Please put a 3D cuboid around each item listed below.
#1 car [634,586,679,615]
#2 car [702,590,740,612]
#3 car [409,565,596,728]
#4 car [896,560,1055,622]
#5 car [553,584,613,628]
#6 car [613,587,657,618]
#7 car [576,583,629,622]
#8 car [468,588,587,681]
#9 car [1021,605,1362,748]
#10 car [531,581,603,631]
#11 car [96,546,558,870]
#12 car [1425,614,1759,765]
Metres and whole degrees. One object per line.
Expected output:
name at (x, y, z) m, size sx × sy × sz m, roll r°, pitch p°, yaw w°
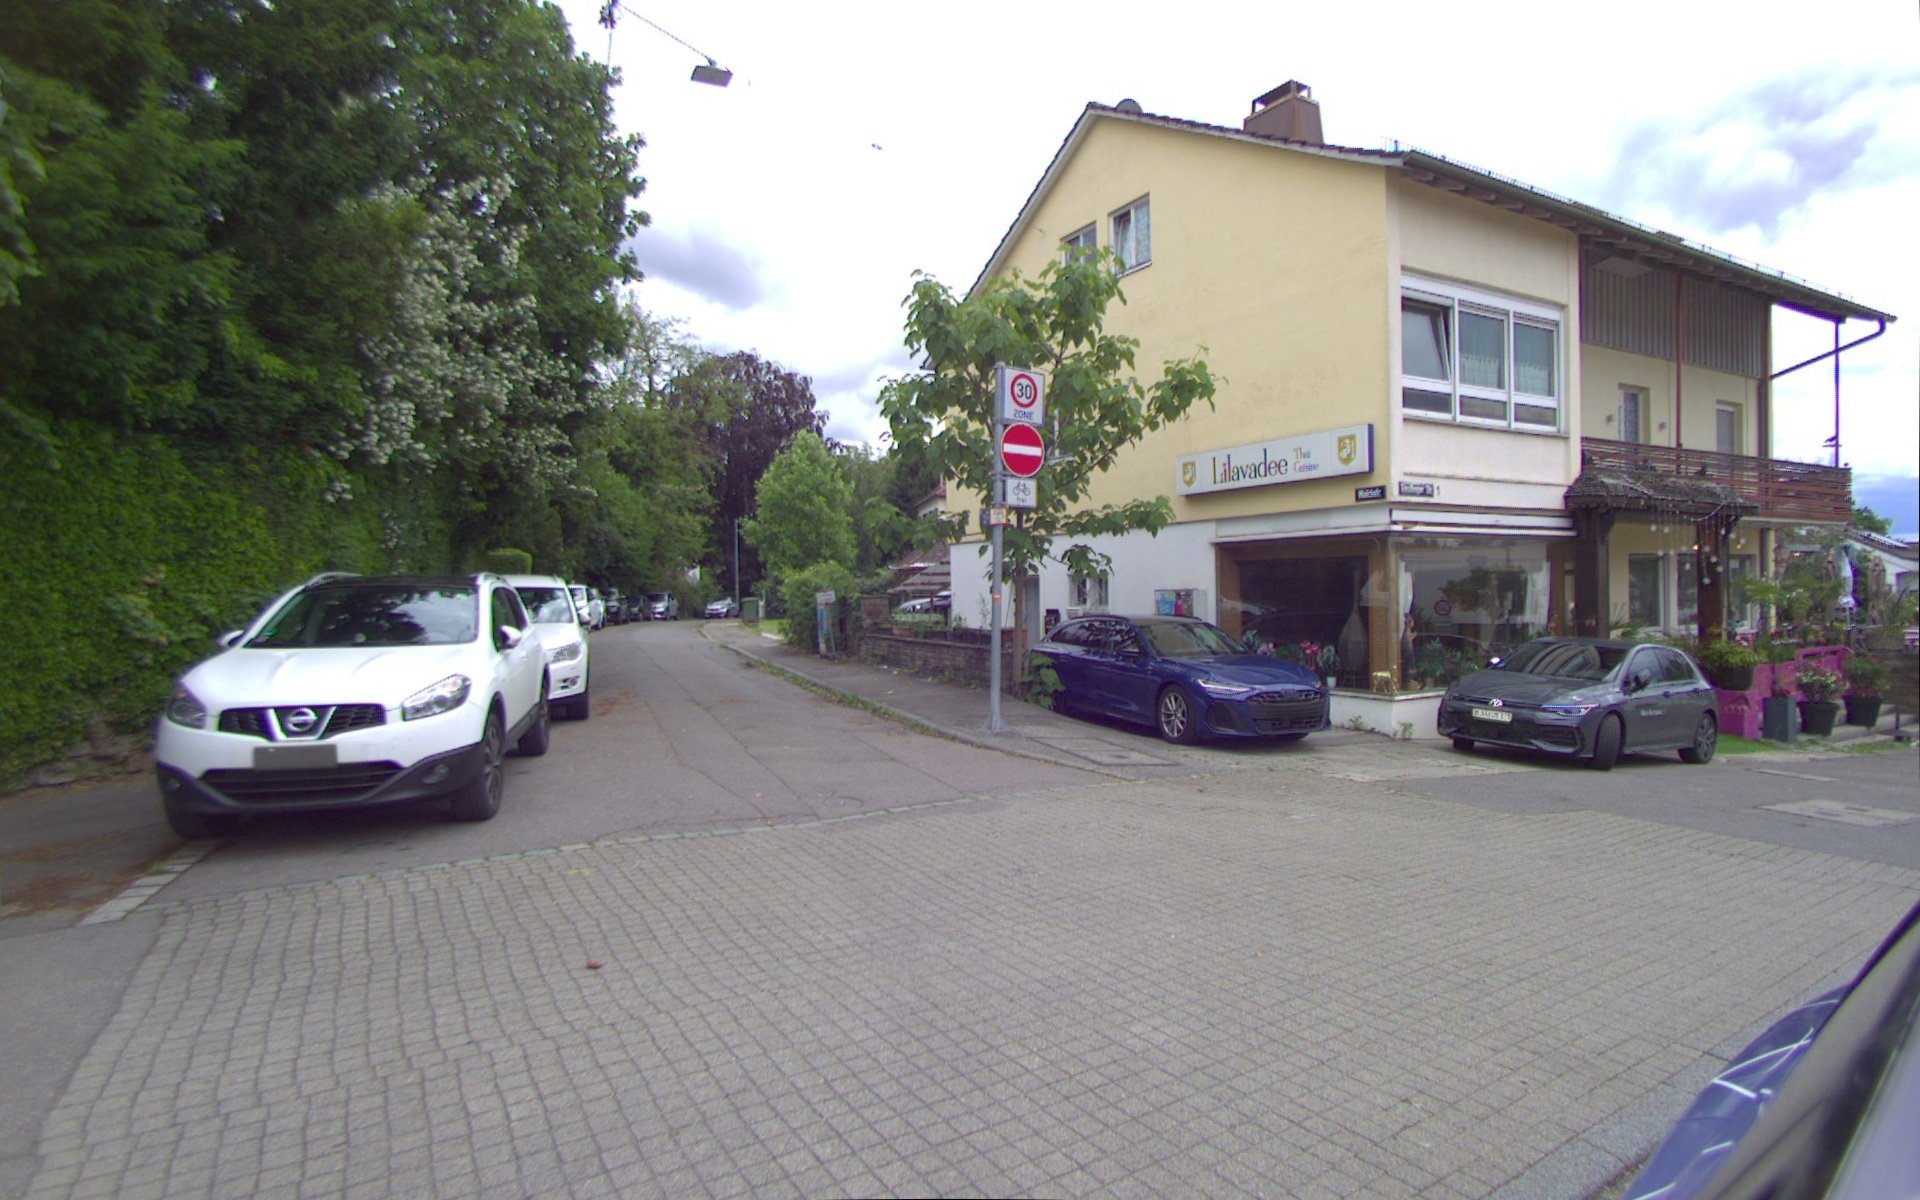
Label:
car at (-16.620, -0.016, 55.557) m, size 1.543 × 1.502 × 3.476 m, roll 0°, pitch 1°, yaw -3°
car at (-16.778, 0.059, 71.220) m, size 1.547 × 1.502 × 3.468 m, roll 0°, pitch 1°, yaw 7°
car at (-5.418, 0.444, 12.408) m, size 1.761 × 1.643 × 4.080 m, roll -1°, pitch 1°, yaw -20°
car at (0.451, -0.235, 29.792) m, size 4.235 × 1.480 × 1.802 m, roll 4°, pitch -2°, yaw -19°
car at (-13.831, 0.181, 37.300) m, size 1.541 × 1.502 × 3.481 m, roll -1°, pitch 1°, yaw -12°
car at (-16.281, 0.098, 50.876) m, size 1.542 × 1.502 × 3.479 m, roll -1°, pitch 1°, yaw -8°
car at (-14.541, 0.065, 41.295) m, size 1.541 × 1.502 × 3.481 m, roll -1°, pitch 1°, yaw -12°
car at (-7.679, 0.515, 18.277) m, size 1.761 × 1.441 × 4.080 m, roll -1°, pitch 1°, yaw -20°
car at (2.672, 0.836, 13.036) m, size 1.761 × 1.405 × 4.758 m, roll 2°, pitch 0°, yaw -24°
car at (-12.562, 0.152, 32.558) m, size 1.541 × 1.502 × 3.745 m, roll -1°, pitch 1°, yaw -12°
car at (-4.091, 0.516, 7.357) m, size 1.761 × 1.643 × 4.144 m, roll -1°, pitch 1°, yaw -16°
car at (7.703, 1.072, 12.213) m, size 4.242 × 1.480 × 1.800 m, roll 5°, pitch -2°, yaw -34°
